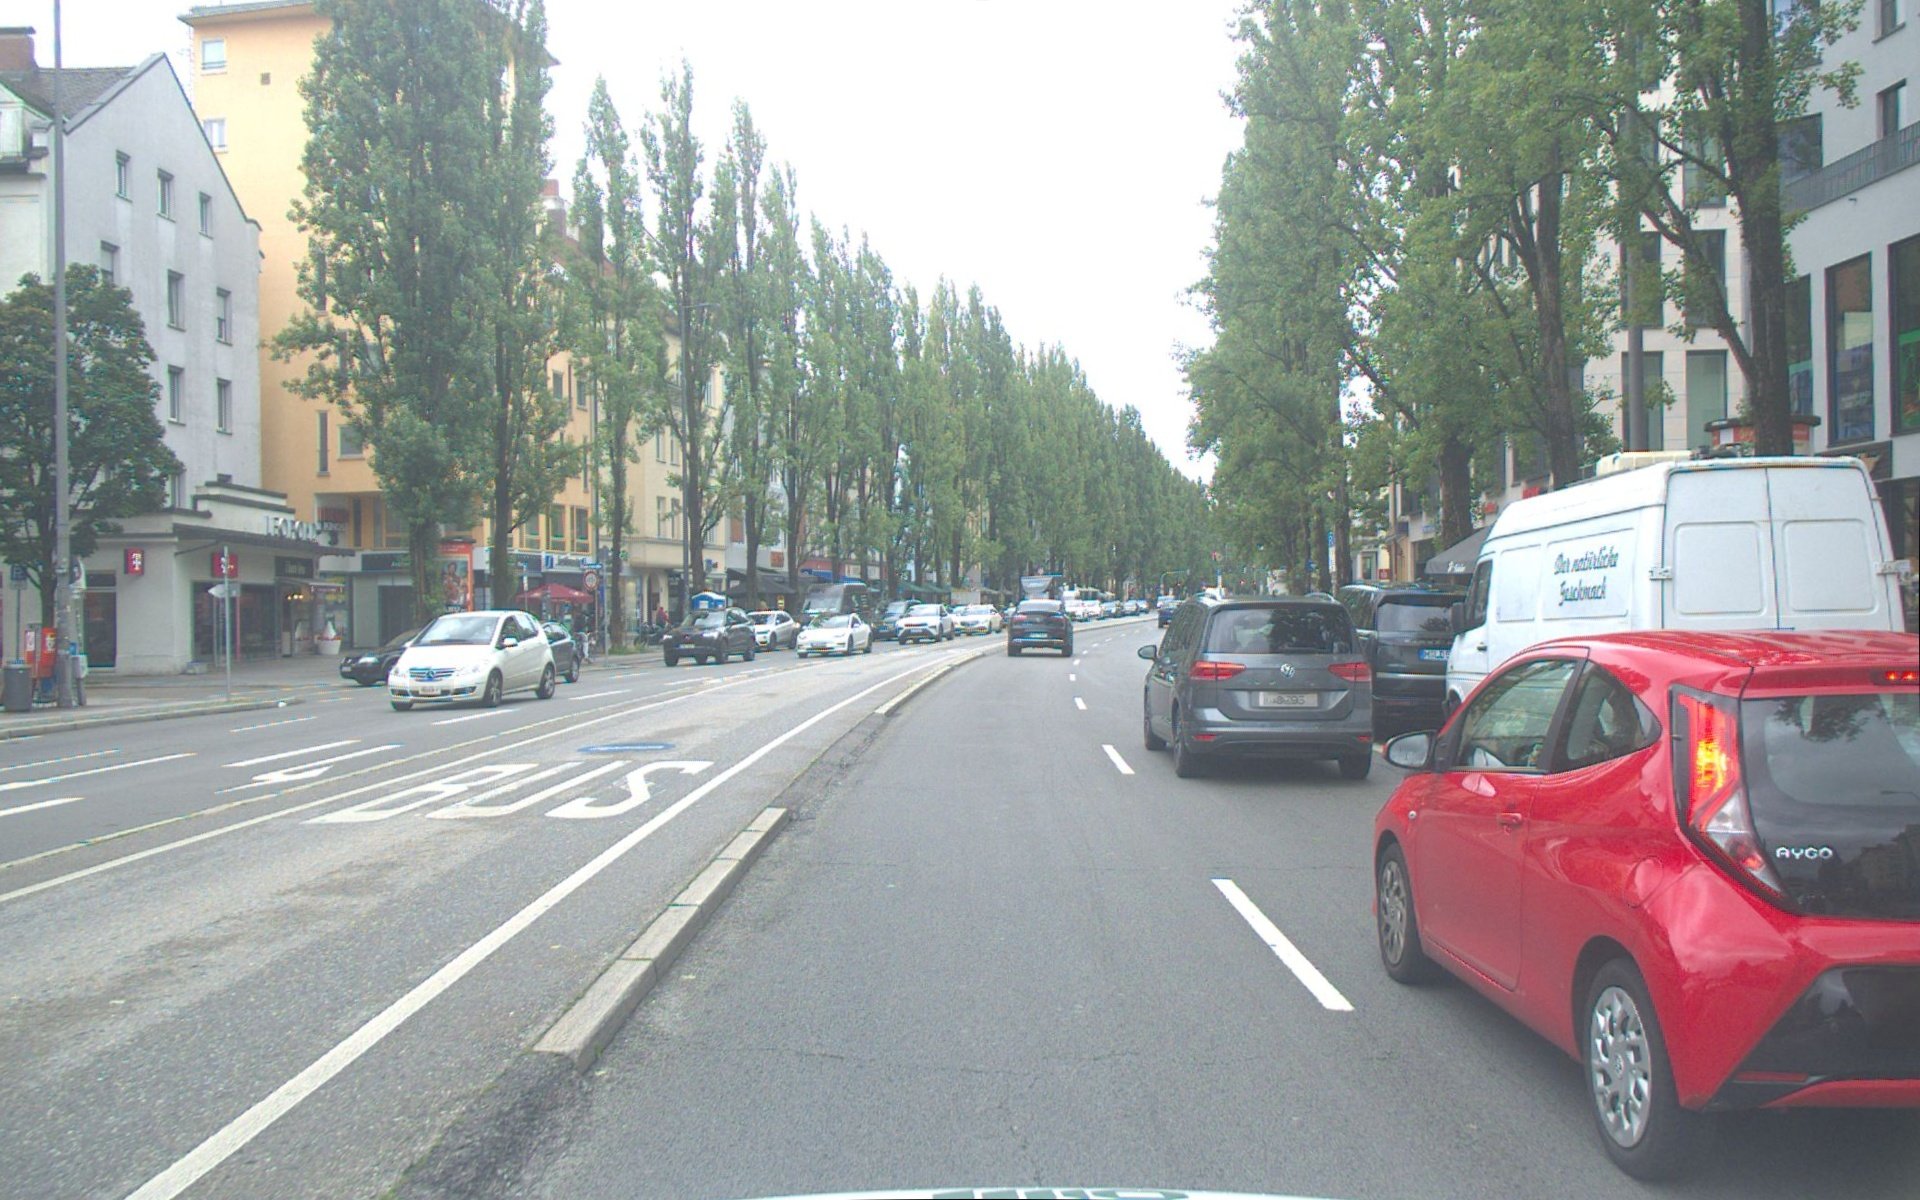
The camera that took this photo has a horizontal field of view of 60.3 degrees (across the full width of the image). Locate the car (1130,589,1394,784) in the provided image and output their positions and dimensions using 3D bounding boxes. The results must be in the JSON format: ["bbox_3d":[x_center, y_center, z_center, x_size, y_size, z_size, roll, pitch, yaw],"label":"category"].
[{"bbox_3d":[2.778,0.739,16.123,1.725,1.642,4.182,0,0,-1],"label":"car"}]

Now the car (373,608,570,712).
[{"bbox_3d":[-8.379,0.986,28.760,1.912,1.617,4.002,-1,0,5],"label":"car"}]

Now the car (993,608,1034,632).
[{"bbox_3d":[3.572,1.332,109.927,1.898,1.459,4.542,-2,0,12],"label":"car"}]

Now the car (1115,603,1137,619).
[{"bbox_3d":[15.795,1.059,157.201,1.675,1.439,3.726,-1,0,11],"label":"car"}]

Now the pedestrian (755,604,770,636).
[{"bbox_3d":[-11.138,1.131,93.512,0.624,1.729,0.648,-2,0,11],"label":"pedestrian"}]

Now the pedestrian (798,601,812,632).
[{"bbox_3d":[-9.435,0.997,100.622,0.624,1.894,0.648,-2,0,11],"label":"pedestrian"}]

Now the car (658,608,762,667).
[{"bbox_3d":[-7.954,1.162,53.117,1.975,1.746,4.986,-1,0,7],"label":"car"}]

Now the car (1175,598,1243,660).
[{"bbox_3d":[7.290,0.832,48.796,1.884,1.730,4.653,0,-1,7],"label":"car"}]

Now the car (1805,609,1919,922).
[{"bbox_3d":[5.354,0.802,6.901,1.689,1.479,4.149,1,0,3],"label":"car"}]

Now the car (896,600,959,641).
[{"bbox_3d":[-1.351,0.864,71.222,1.869,1.631,4.359,-2,0,10],"label":"car"}]

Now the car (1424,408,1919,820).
[{"bbox_3d":[5.669,0.131,14.013,1.952,2.790,5.554,0,-1,0],"label":"car"}]

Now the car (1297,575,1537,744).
[{"bbox_3d":[5.474,0.657,20.461,1.889,1.836,4.781,0,0,3],"label":"car"}]

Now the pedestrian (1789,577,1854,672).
[{"bbox_3d":[14.797,0.419,28.422,0.668,1.585,0.750,-2,0,1],"label":"pedestrian"}]

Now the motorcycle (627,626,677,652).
[{"bbox_3d":[-12.724,1.614,68.384,2.017,1.054,0.485,1,-1,-9],"label":"motorcycle"}]

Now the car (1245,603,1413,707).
[{"bbox_3d":[5.703,0.801,26.097,1.734,1.458,4.572,1,0,1],"label":"car"}]

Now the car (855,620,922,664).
[{"bbox_3d":[-3.420,2.002,80.238,1.951,1.896,5.716,-3,0,11],"label":"car"}]

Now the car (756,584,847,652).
[{"bbox_3d":[-6.468,0.711,68.429,2.123,2.651,6.069,-2,0,10],"label":"car"}]

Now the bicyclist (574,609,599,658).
[{"bbox_3d":[-12.359,1.100,54.783,0.491,1.620,0.835,-1,0,11],"label":"bicyclist"}]

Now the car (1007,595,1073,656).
[{"bbox_3d":[2.377,0.715,48.918,1.841,1.670,4.584,-1,0,3],"label":"car"}]

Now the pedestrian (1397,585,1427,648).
[{"bbox_3d":[12.075,0.425,44.222,0.597,1.647,0.795,-2,0,7],"label":"pedestrian"}]

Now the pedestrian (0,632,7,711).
[{"bbox_3d":[-18.947,1.396,32.058,0.534,1.521,0.656,-1,0,3],"label":"pedestrian"}]

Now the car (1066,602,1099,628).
[{"bbox_3d":[8.888,1.055,119.460,1.820,1.741,4.540,-2,0,11],"label":"car"}]

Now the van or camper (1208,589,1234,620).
[{"bbox_3d":[22.218,0.417,140.701,1.991,2.519,4.003,-1,-2,11],"label":"van or camper"}]

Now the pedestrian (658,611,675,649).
[{"bbox_3d":[-13.958,1.434,78.592,0.527,1.777,0.756,-1,0,11],"label":"pedestrian"}]

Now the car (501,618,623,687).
[{"bbox_3d":[-9.656,1.241,40.426,1.746,1.491,4.002,-2,0,4],"label":"car"}]

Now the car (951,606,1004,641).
[{"bbox_3d":[0.920,1.177,85.558,1.951,1.616,5.199,-3,0,9],"label":"car"}]

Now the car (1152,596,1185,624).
[{"bbox_3d":[12.564,0.591,99.365,1.721,1.648,3.750,0,-1,11],"label":"car"}]

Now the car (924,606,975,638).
[{"bbox_3d":[-0.577,1.207,93.801,1.951,1.680,4.640,-2,0,11],"label":"car"}]

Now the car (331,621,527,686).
[{"bbox_3d":[-13.676,1.345,42.714,4.462,1.464,1.902,-2,0,-39],"label":"car"}]

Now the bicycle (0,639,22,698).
[{"bbox_3d":[-22.634,1.607,37.531,0.829,1.331,2.303,-2,0,24],"label":"bicycle"}]

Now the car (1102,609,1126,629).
[{"bbox_3d":[13.232,1.628,142.207,1.631,1.624,4.003,0,-1,11],"label":"car"}]

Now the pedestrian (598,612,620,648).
[{"bbox_3d":[-15.552,1.332,73.281,0.620,1.589,0.816,-1,0,13],"label":"pedestrian"}]

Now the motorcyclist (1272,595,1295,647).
[{"bbox_3d":[9.106,0.583,46.616,0.552,1.431,0.766,-2,0,8],"label":"motorcyclist"}]

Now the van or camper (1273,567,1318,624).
[{"bbox_3d":[19.346,-0.260,95.274,2.408,3.166,4.719,-2,0,12],"label":"van or camper"}]

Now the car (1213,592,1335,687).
[{"bbox_3d":[6.022,0.728,32.140,1.691,1.716,4.409,0,0,2],"label":"car"}]

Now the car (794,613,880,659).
[{"bbox_3d":[-4.184,1.206,57.038,1.761,1.419,4.694,-2,0,11],"label":"car"}]

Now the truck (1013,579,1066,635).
[{"bbox_3d":[5.119,0.426,105.095,2.242,3.381,7.163,-2,0,11],"label":"truck"}]

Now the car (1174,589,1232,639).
[{"bbox_3d":[8.016,0.459,54.776,1.772,1.526,4.809,-2,0,7],"label":"car"}]

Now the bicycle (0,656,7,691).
[{"bbox_3d":[-27.257,2.070,45.832,0.449,0.980,1.882,-1,0,4],"label":"bicycle"}]

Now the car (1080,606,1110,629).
[{"bbox_3d":[10.675,1.371,130.750,1.898,1.671,4.467,-2,0,11],"label":"car"}]

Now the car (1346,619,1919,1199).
[{"bbox_3d":[2.603,0.811,5.814,1.631,1.471,3.595,0,-1,0],"label":"car"}]

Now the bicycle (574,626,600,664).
[{"bbox_3d":[-12.347,1.491,54.811,0.360,1.222,1.155,-1,0,12],"label":"bicycle"}]

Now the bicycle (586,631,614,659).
[{"bbox_3d":[-13.227,1.653,60.826,0.449,0.980,1.882,-1,0,4],"label":"bicycle"}]
